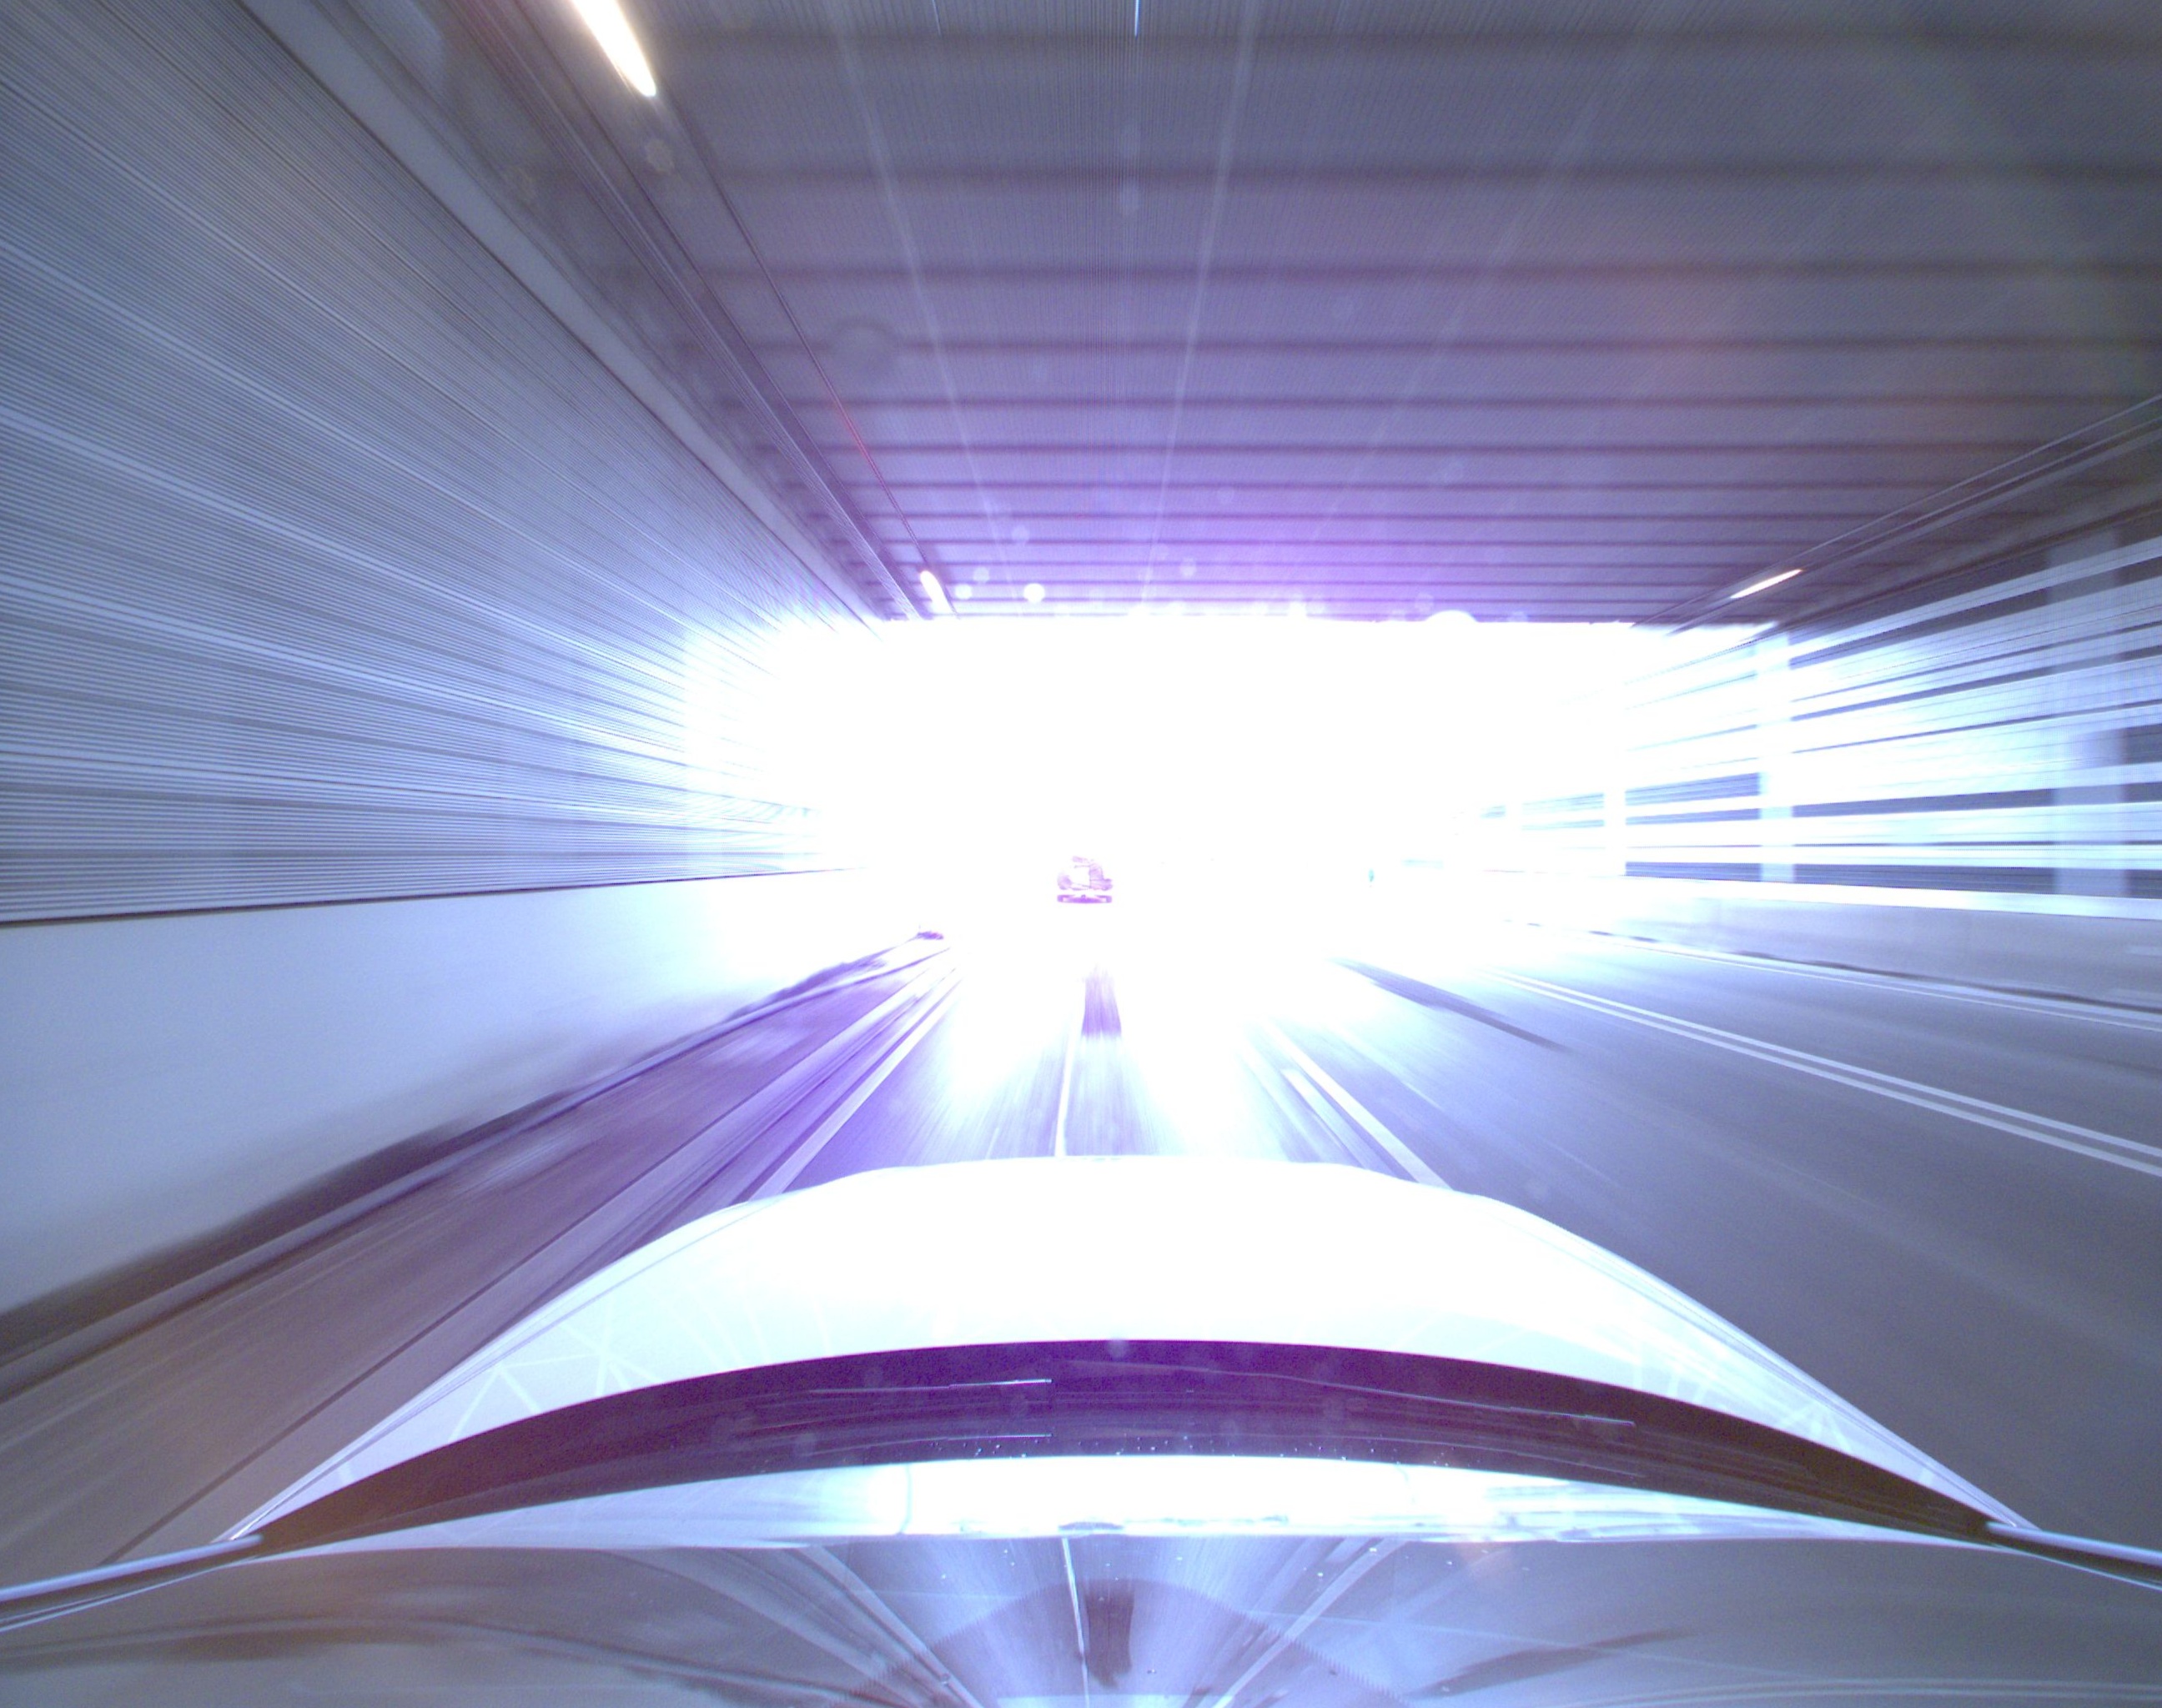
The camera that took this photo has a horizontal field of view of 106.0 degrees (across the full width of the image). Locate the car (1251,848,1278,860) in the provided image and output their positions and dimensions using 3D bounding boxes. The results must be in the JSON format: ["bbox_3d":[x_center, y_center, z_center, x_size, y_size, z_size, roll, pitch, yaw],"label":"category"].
[{"bbox_3d":[23.595,-0.024,104.620,1.974,1.469,4.026,-2,0,34],"label":"car"}]

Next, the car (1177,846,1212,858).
[{"bbox_3d":[16.452,-0.287,117.761,5.301,1.750,1.934,-1,0,-39],"label":"car"}]

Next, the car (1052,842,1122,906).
[{"bbox_3d":[0.075,0.609,27.172,1.988,1.859,5.634,1,0,-3],"label":"car"}]

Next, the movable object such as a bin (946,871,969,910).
[{"bbox_3d":[-3.247,0.964,21.489,0.551,1.008,0.546,0,0,-4],"label":"movable object such as a bin"}]

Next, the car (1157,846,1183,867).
[{"bbox_3d":[8.145,0.197,74.328,1.981,1.860,4.012,0,0,11],"label":"car"}]

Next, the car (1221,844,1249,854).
[{"bbox_3d":[24.436,-0.795,129.371,4.156,1.434,1.749,-1,0,-29],"label":"car"}]

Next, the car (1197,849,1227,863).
[{"bbox_3d":[14.591,0.174,90.526,1.993,1.488,4.090,0,1,29],"label":"car"}]
